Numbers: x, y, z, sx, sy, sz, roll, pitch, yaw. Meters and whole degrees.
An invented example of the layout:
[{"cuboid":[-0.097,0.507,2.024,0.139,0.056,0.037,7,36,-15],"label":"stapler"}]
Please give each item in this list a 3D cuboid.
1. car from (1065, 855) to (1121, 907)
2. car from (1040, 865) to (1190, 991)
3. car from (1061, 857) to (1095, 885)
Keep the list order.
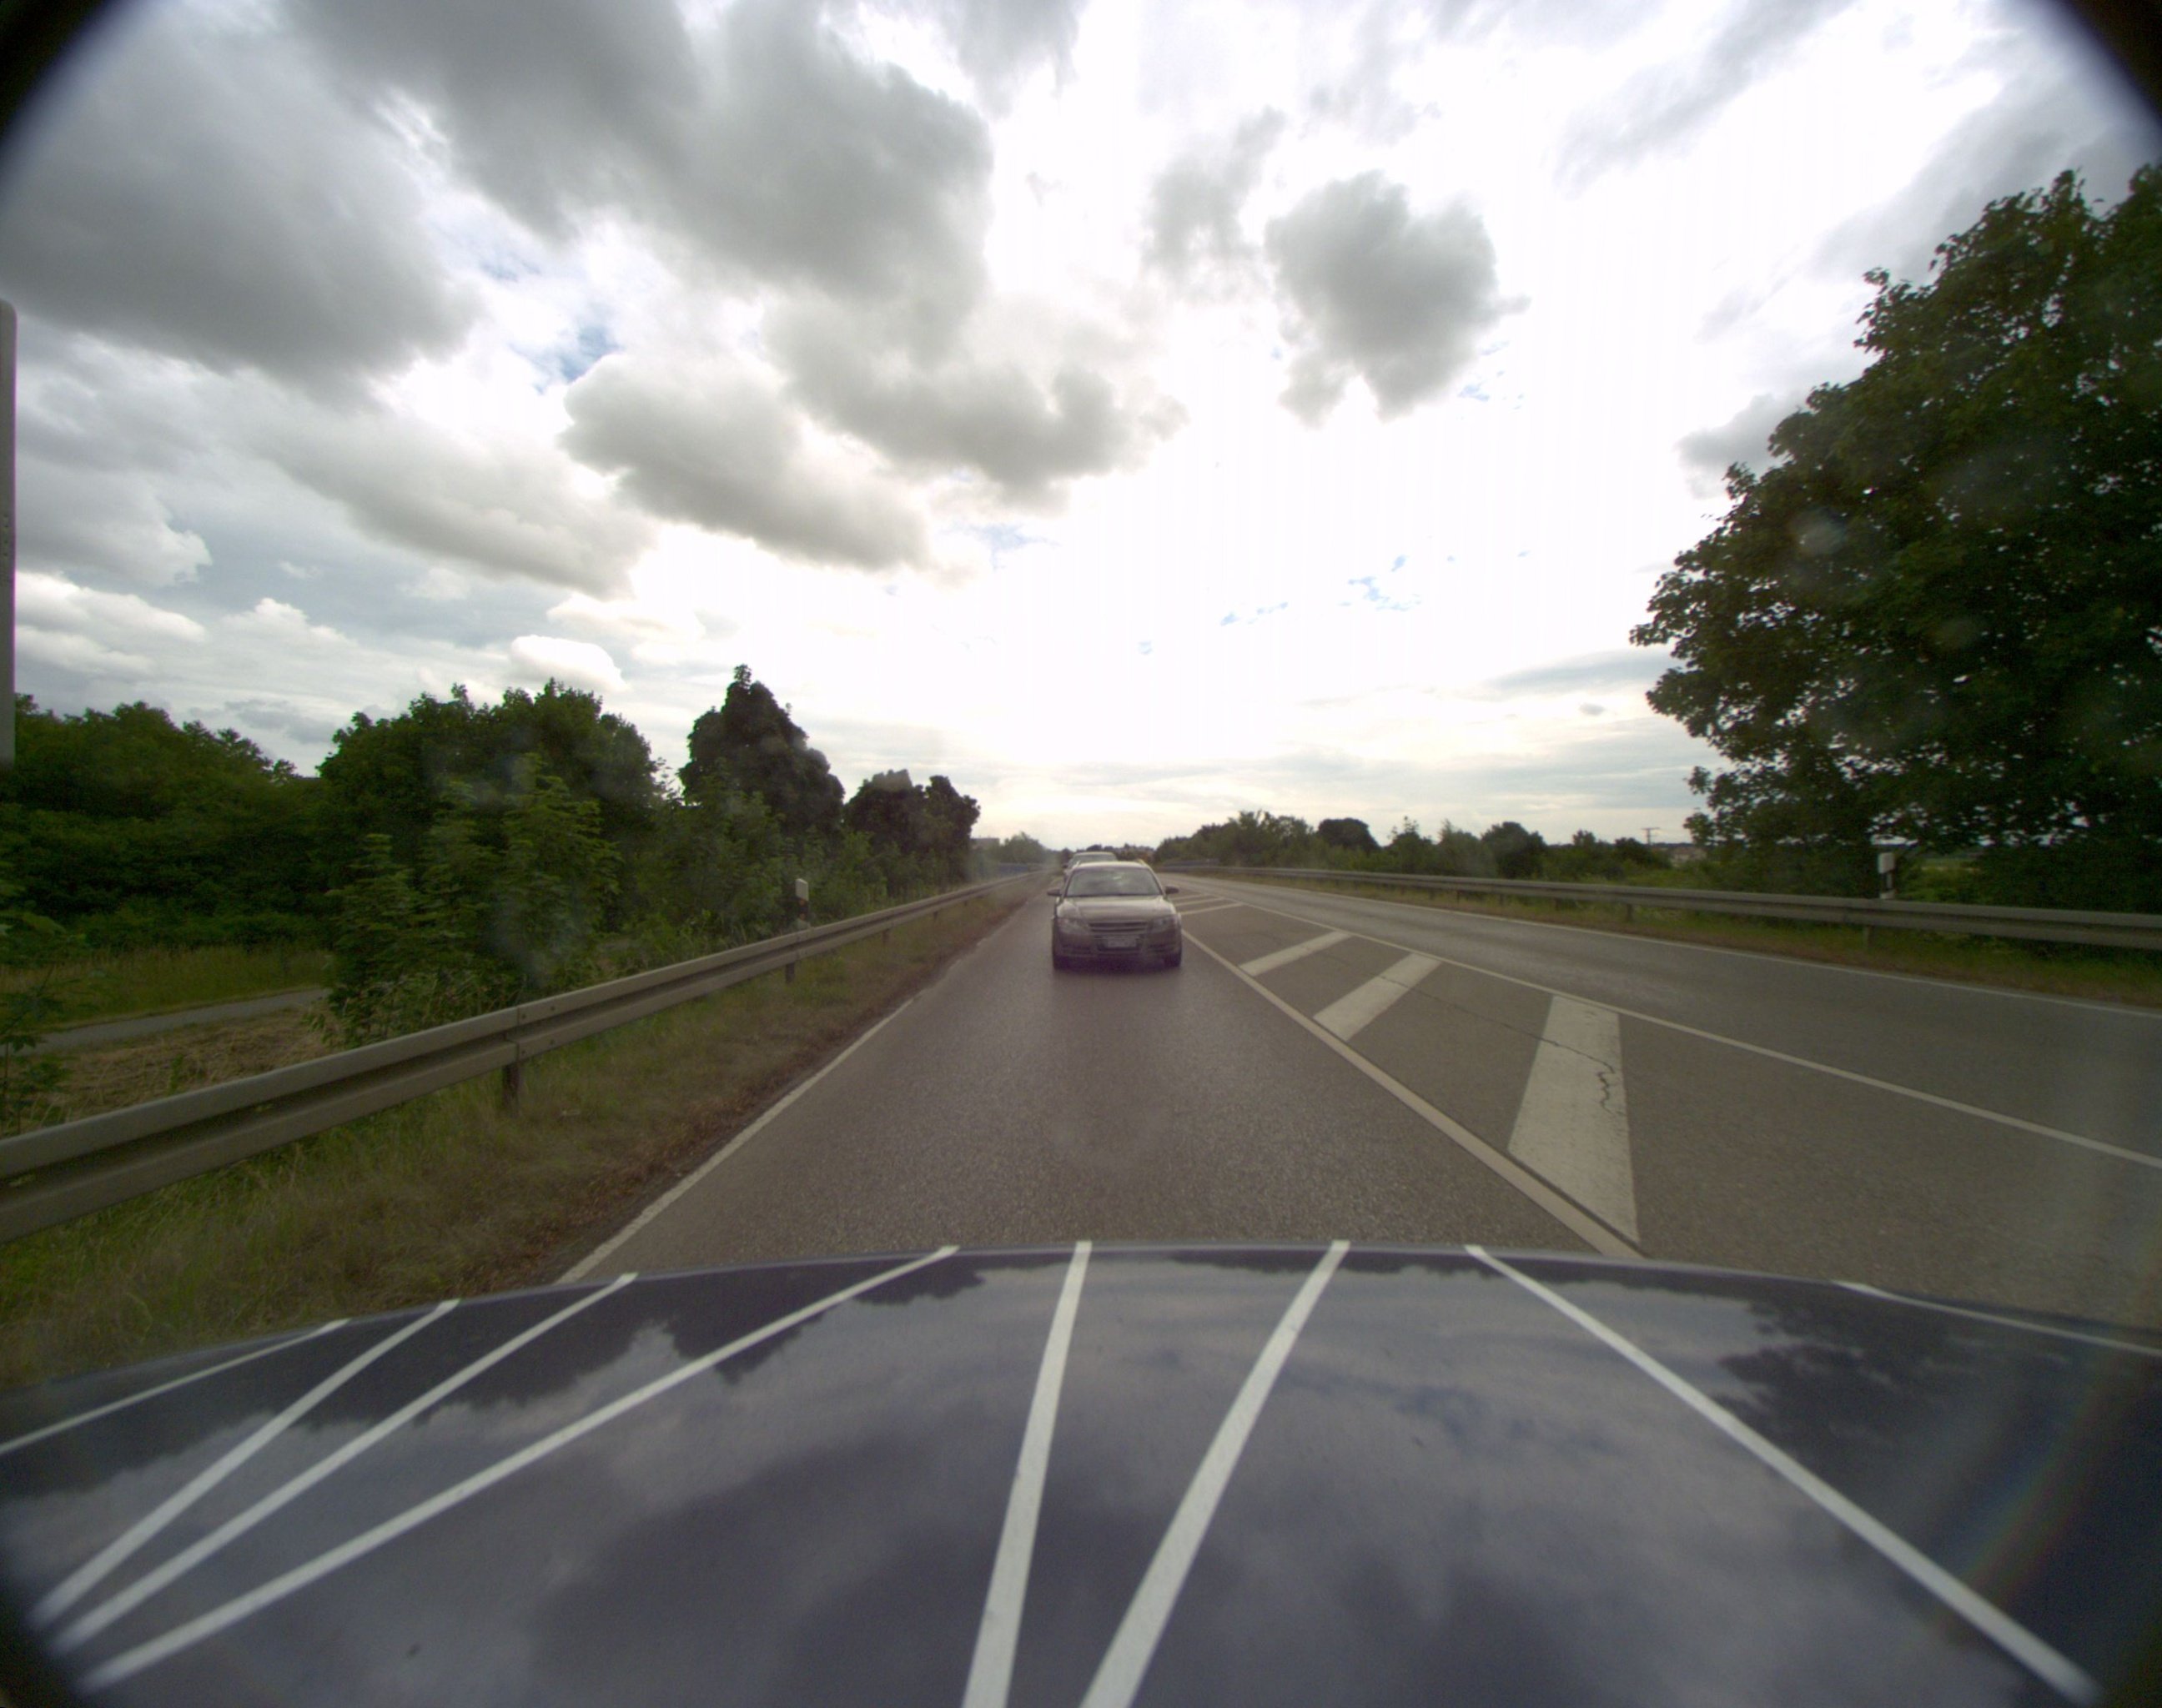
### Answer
[{"cuboid":[0.385,0.811,24.741,1.603,1.494,3.962,-2,0,1],"label":"car"},{"cuboid":[0.399,0.919,11.122,1.768,1.383,3.876,-2,0,-1],"label":"car"},{"cuboid":[-0.172,0.876,41.024,1.670,1.339,4.000,-2,0,0],"label":"car"}]
